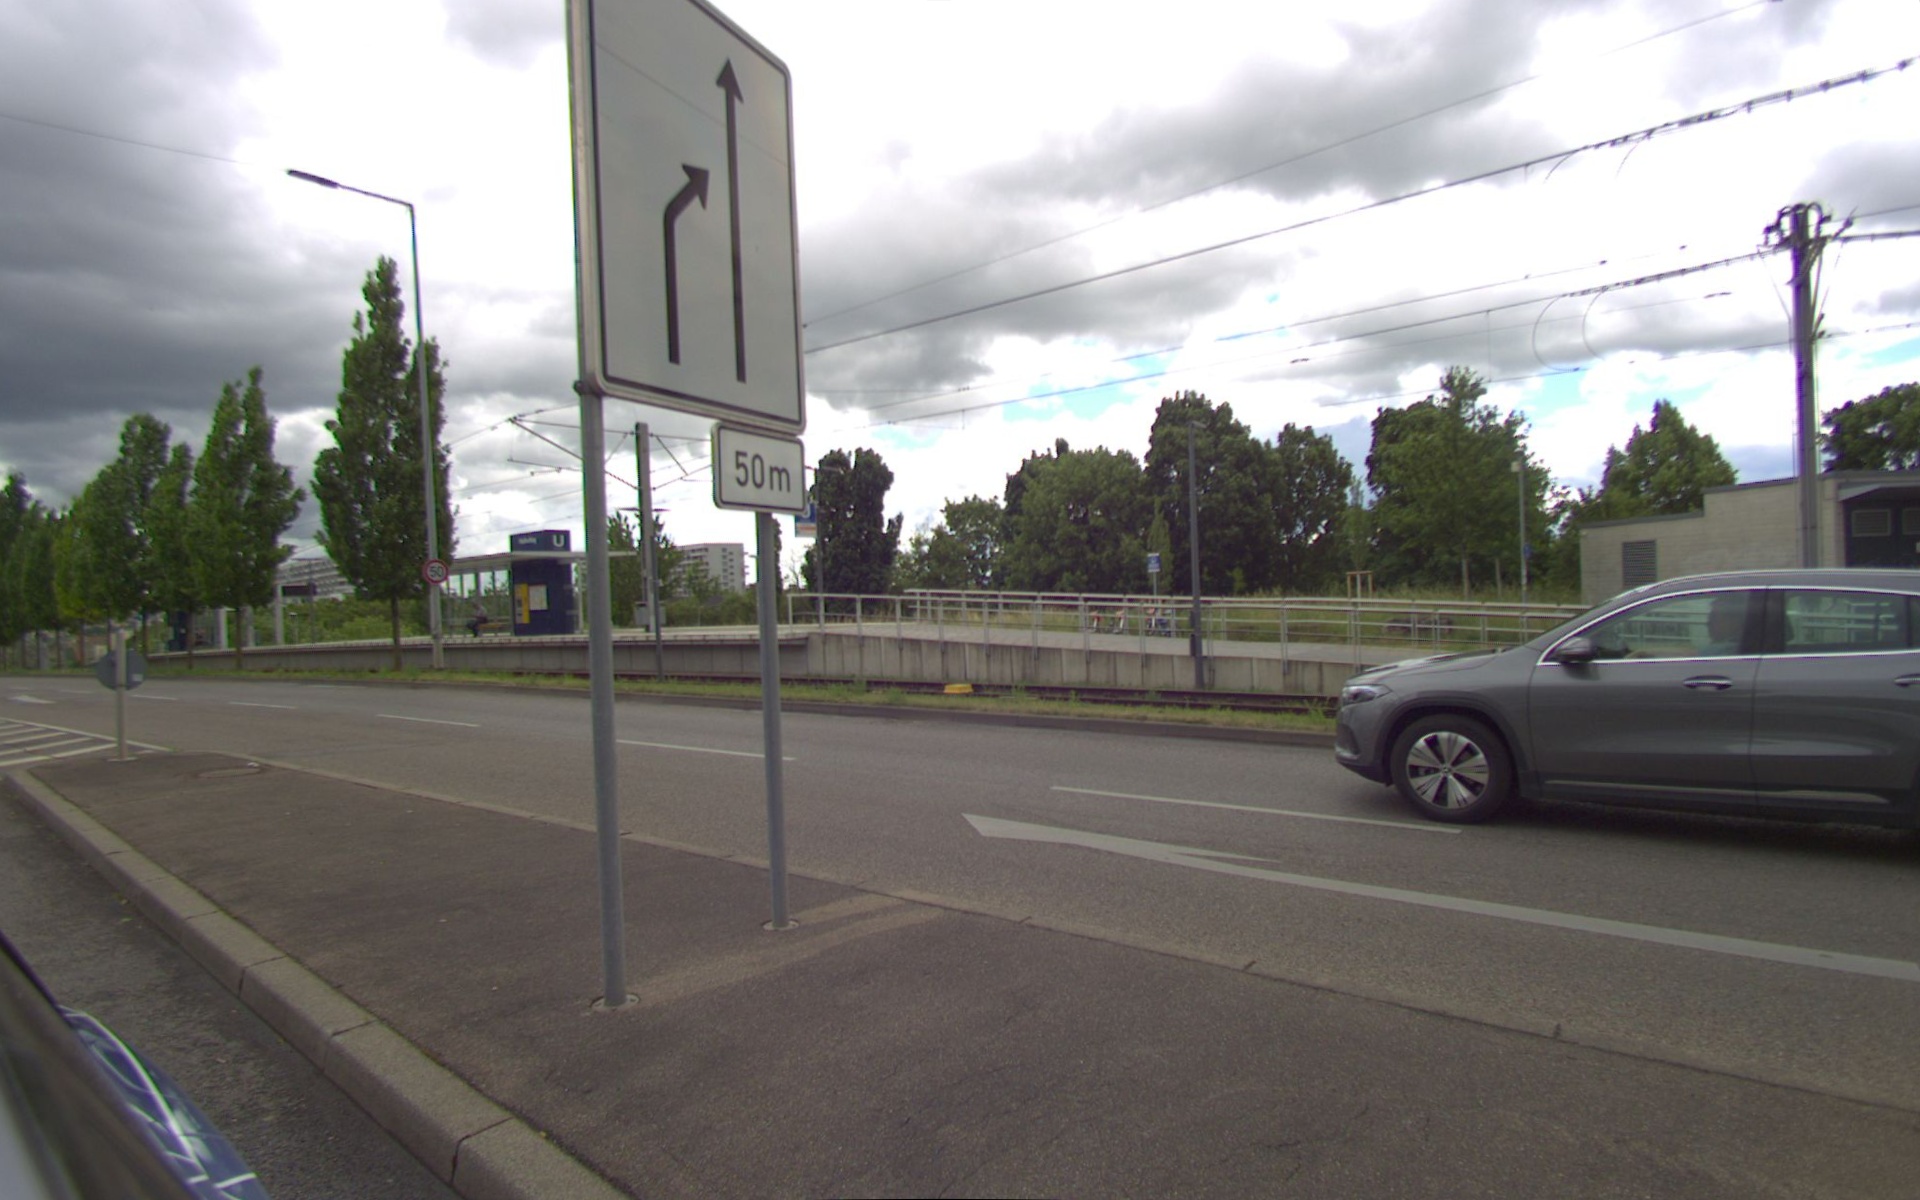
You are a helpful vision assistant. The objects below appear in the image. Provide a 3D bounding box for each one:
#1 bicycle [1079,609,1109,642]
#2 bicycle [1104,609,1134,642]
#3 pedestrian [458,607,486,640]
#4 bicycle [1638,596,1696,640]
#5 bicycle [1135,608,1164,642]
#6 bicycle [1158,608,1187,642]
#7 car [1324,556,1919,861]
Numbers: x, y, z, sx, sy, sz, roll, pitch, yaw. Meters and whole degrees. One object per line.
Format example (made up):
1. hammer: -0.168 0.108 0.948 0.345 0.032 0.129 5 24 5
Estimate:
1. bicycle: 4.674 0.889 35.154 0.490 1.095 1.466 -2 -1 30
2. bicycle: 5.431 0.867 34.452 0.490 1.095 1.466 -2 -1 30
3. pedestrian: -18.260 0.878 37.866 0.781 1.211 0.656 -2 -1 33
4. bicycle: 18.186 0.458 26.052 0.486 1.095 1.480 -1 -1 3
5. bicycle: 6.371 0.816 33.941 0.490 1.095 1.466 -2 -1 30
6. bicycle: 7.037 0.816 33.461 0.490 1.095 1.466 -2 -1 30
7. car: 4.737 0.571 6.427 4.218 1.558 1.761 -2 -1 37
